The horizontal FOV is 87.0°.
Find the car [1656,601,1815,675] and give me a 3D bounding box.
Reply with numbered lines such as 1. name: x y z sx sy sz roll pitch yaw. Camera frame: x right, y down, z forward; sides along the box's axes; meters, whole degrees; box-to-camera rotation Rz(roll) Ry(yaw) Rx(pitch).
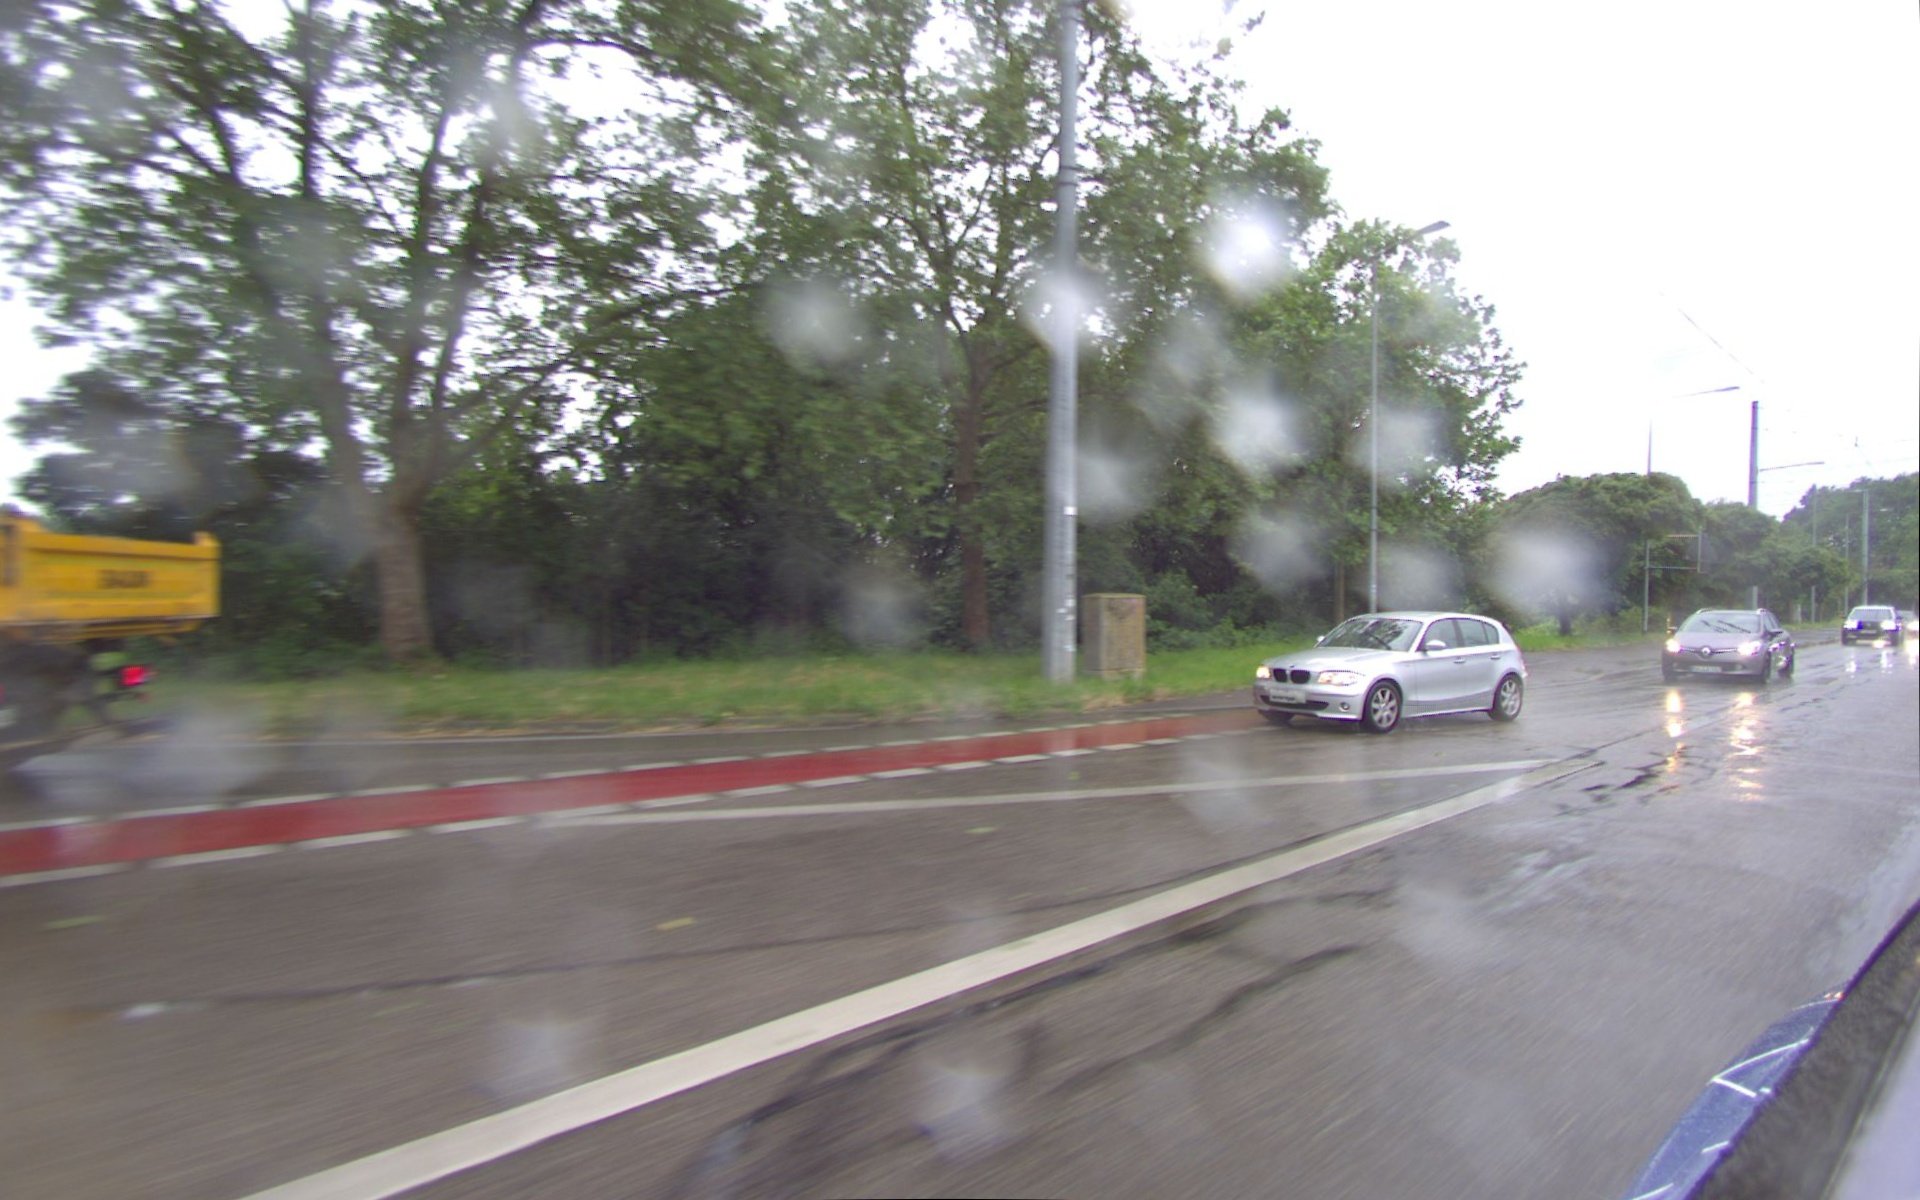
1. car: 16.215 0.747 21.086 4.203 1.374 1.890 1 -1 -42

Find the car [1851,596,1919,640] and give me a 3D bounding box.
1. car: 39.043 0.748 42.565 4.680 1.724 1.795 1 -1 -42

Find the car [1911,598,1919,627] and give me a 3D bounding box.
1. car: 49.463 0.652 51.077 3.930 1.445 1.782 1 0 -42

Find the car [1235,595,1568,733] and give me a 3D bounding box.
1. car: 5.775 0.741 13.073 4.514 1.522 1.633 1 -1 -31

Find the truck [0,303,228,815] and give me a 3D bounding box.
1. truck: -9.707 -0.289 7.218 6.789 3.299 2.568 1 -1 -10
